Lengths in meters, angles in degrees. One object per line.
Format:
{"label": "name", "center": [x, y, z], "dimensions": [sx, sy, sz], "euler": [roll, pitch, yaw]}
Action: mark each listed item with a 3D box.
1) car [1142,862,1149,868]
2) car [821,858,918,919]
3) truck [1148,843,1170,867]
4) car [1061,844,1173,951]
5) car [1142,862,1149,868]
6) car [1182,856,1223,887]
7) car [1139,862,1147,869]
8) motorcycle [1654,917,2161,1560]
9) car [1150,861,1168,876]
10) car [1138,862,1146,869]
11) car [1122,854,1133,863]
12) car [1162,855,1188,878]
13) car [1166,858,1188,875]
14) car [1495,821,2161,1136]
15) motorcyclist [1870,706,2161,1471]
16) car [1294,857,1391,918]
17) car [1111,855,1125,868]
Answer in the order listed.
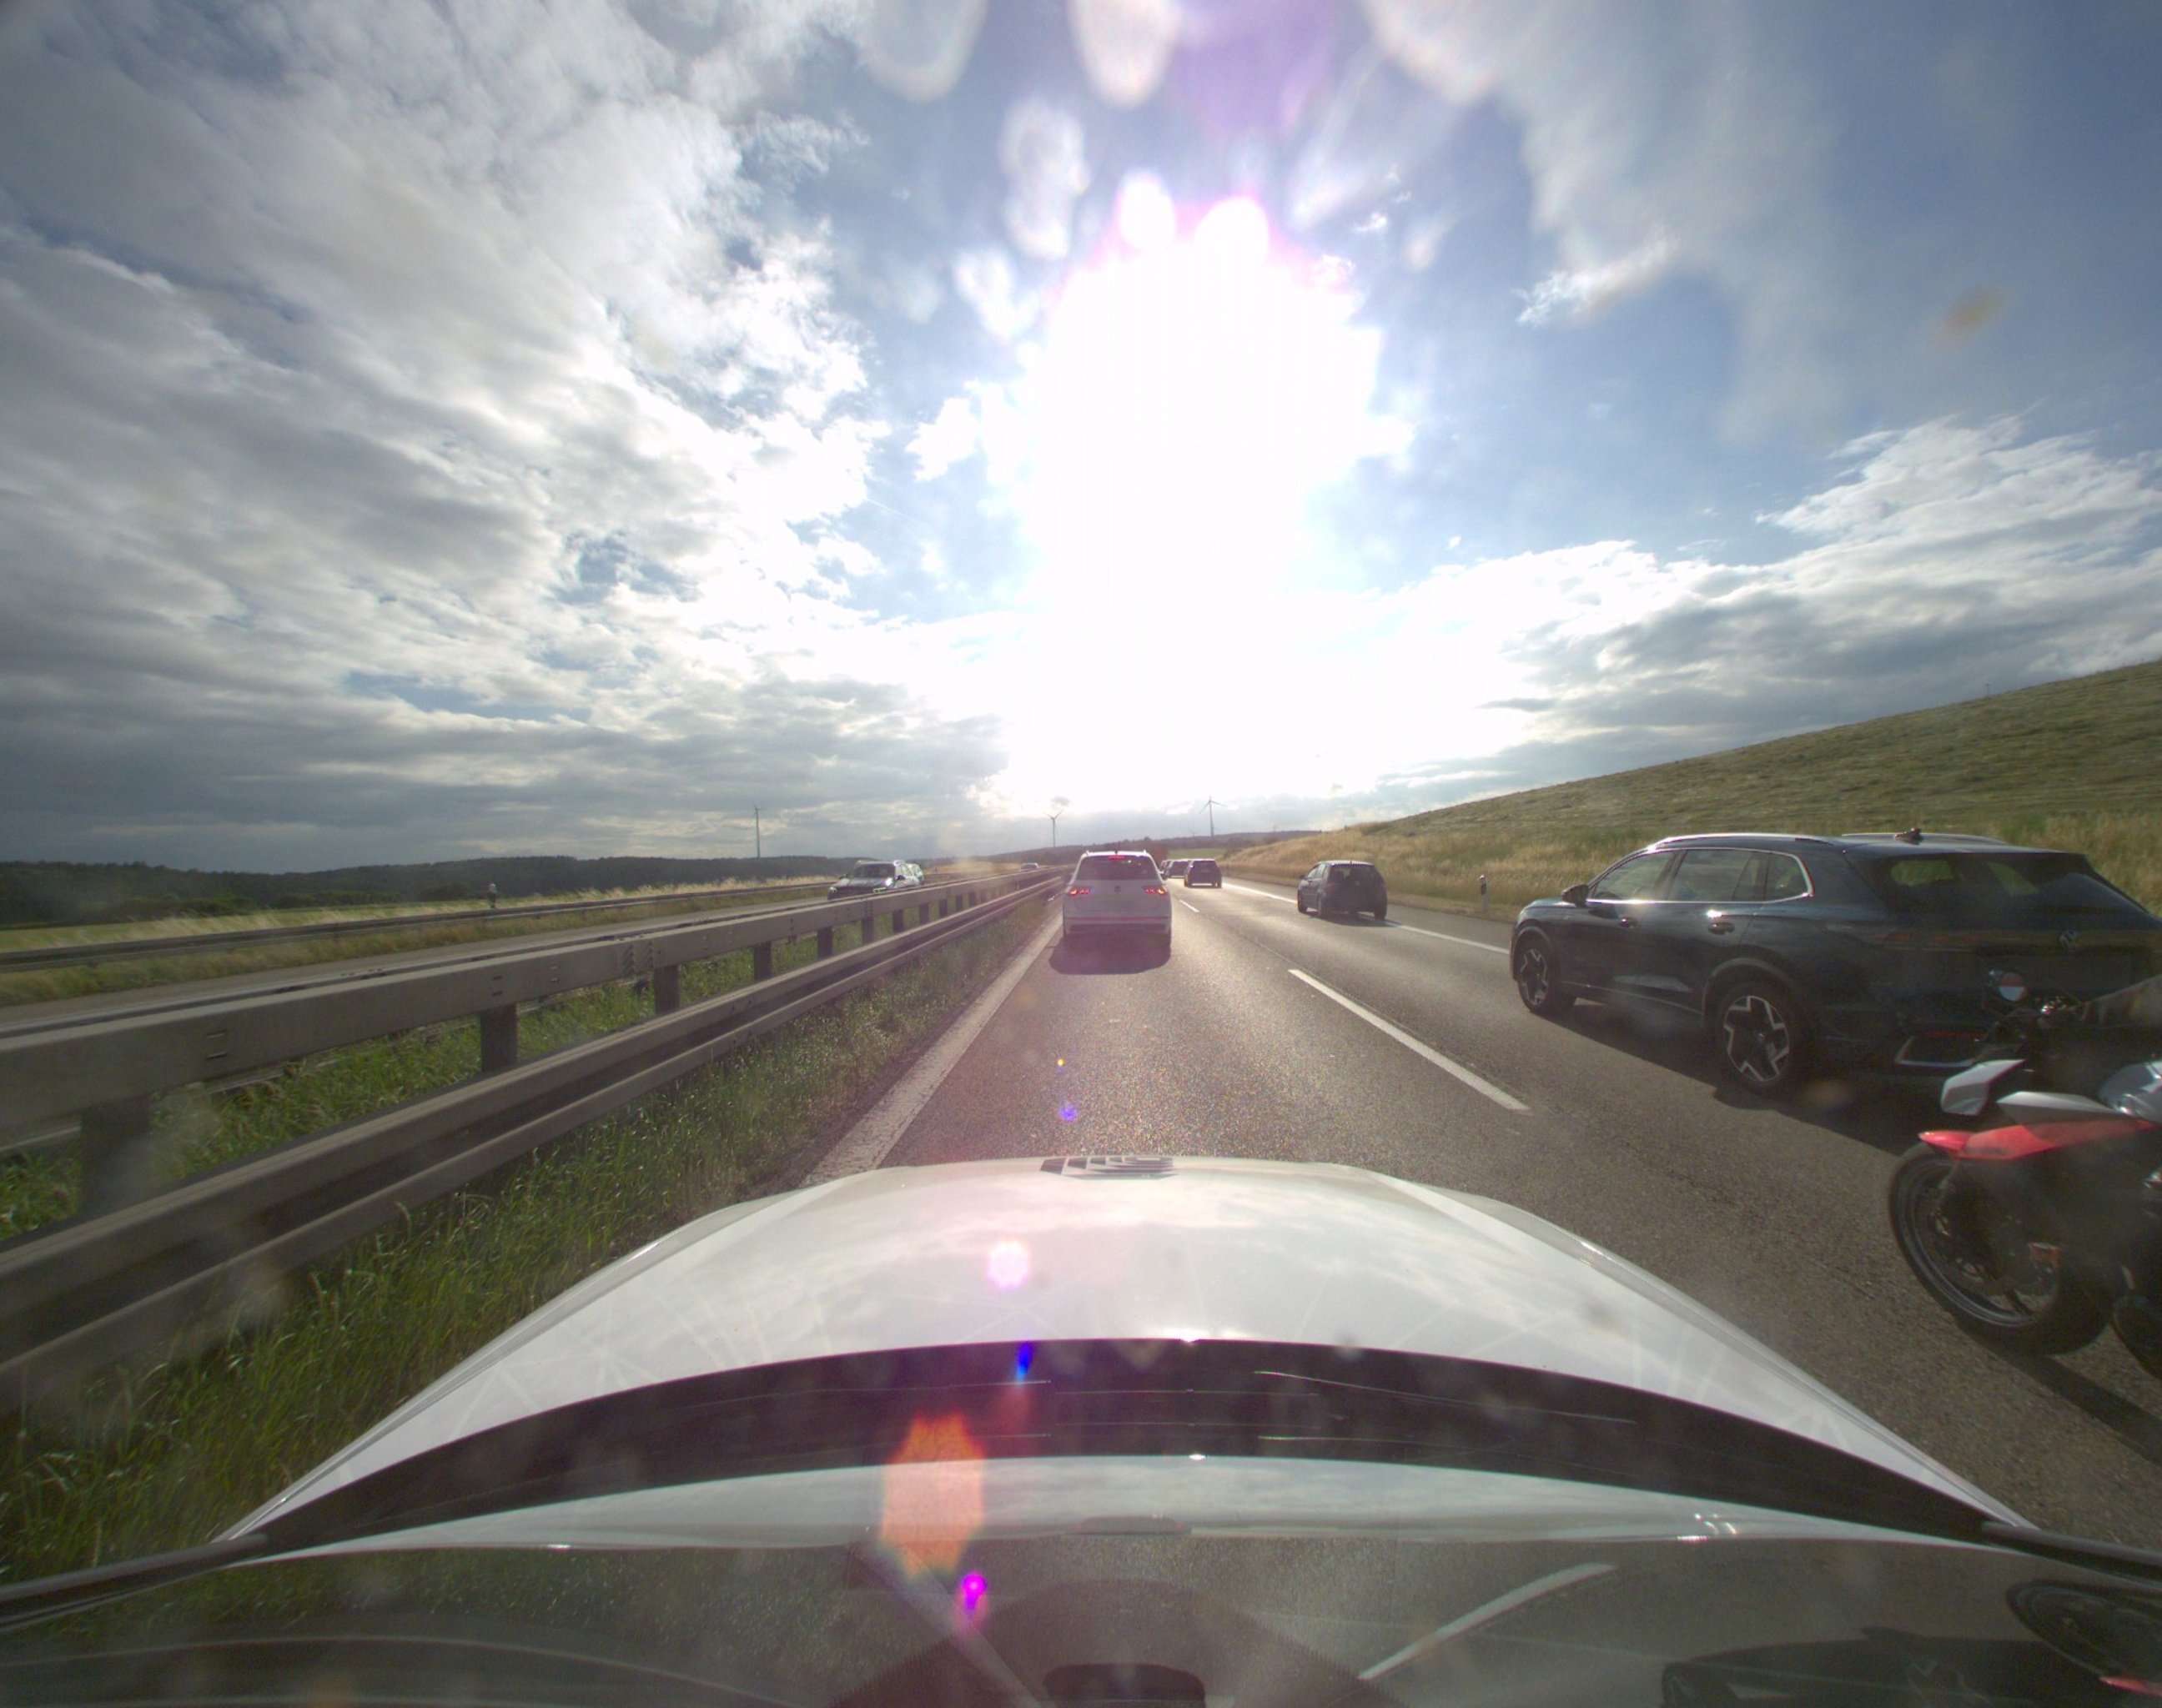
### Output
{"label": "car", "center": [16.771, 2.826, 212.813], "dimensions": [1.697, 1.546, 4.002], "euler": [-1, -1, 2]}
{"label": "car", "center": [-6.697, 1.052, 26.271], "dimensions": [1.816, 1.770, 4.365], "euler": [-1, -1, 2]}
{"label": "truck", "center": [12.167, 0.145, 127.407], "dimensions": [3.170, 3.594, 11.142], "euler": [-1, 0, 4]}
{"label": "car", "center": [0.647, 0.710, 14.957], "dimensions": [1.763, 1.676, 4.002], "euler": [-1, -1, 2]}
{"label": "car", "center": [16.378, 2.753, 206.591], "dimensions": [1.697, 1.546, 4.002], "euler": [-1, -1, 2]}
{"label": "car", "center": [6.394, 0.925, 43.275], "dimensions": [1.697, 1.546, 4.002], "euler": [-1, -1, 2]}
{"label": "car", "center": [14.151, 2.542, 187.239], "dimensions": [1.697, 1.546, 4.002], "euler": [-1, -1, 2]}
{"label": "motorcycle", "center": [2.632, 0.830, 1.997], "dimensions": [0.892, 1.190, 2.257], "euler": [-1, -1, 2]}
{"label": "car", "center": [8.315, 1.573, 86.804], "dimensions": [1.697, 1.546, 4.002], "euler": [-1, -1, 2]}
{"label": "car", "center": [13.177, 2.413, 175.854], "dimensions": [1.697, 1.546, 4.002], "euler": [-1, -1, 2]}
{"label": "car", "center": [7.780, 0.730, 135.347], "dimensions": [1.697, 1.546, 4.002], "euler": [-1, -1, 2]}
{"label": "car", "center": [7.257, 0.971, 63.299], "dimensions": [1.697, 1.650, 4.002], "euler": [-1, -1, 2]}
{"label": "car", "center": [9.024, 1.194, 76.552], "dimensions": [1.697, 1.546, 4.002], "euler": [-1, -1, 2]}
{"label": "car", "center": [5.113, 0.663, 6.311], "dimensions": [1.814, 1.601, 4.237], "euler": [1, -1, 2]}
{"label": "motorcyclist", "center": [2.622, 0.475, 1.786], "dimensions": [0.846, 1.560, 0.934], "euler": [-1, -1, 1]}
{"label": "car", "center": [6.739, 0.827, 21.341], "dimensions": [1.598, 1.420, 3.677], "euler": [-1, -1, 5]}
{"label": "car", "center": [4.771, 1.000, 105.355], "dimensions": [1.697, 1.650, 4.002], "euler": [-1, -1, 2]}
